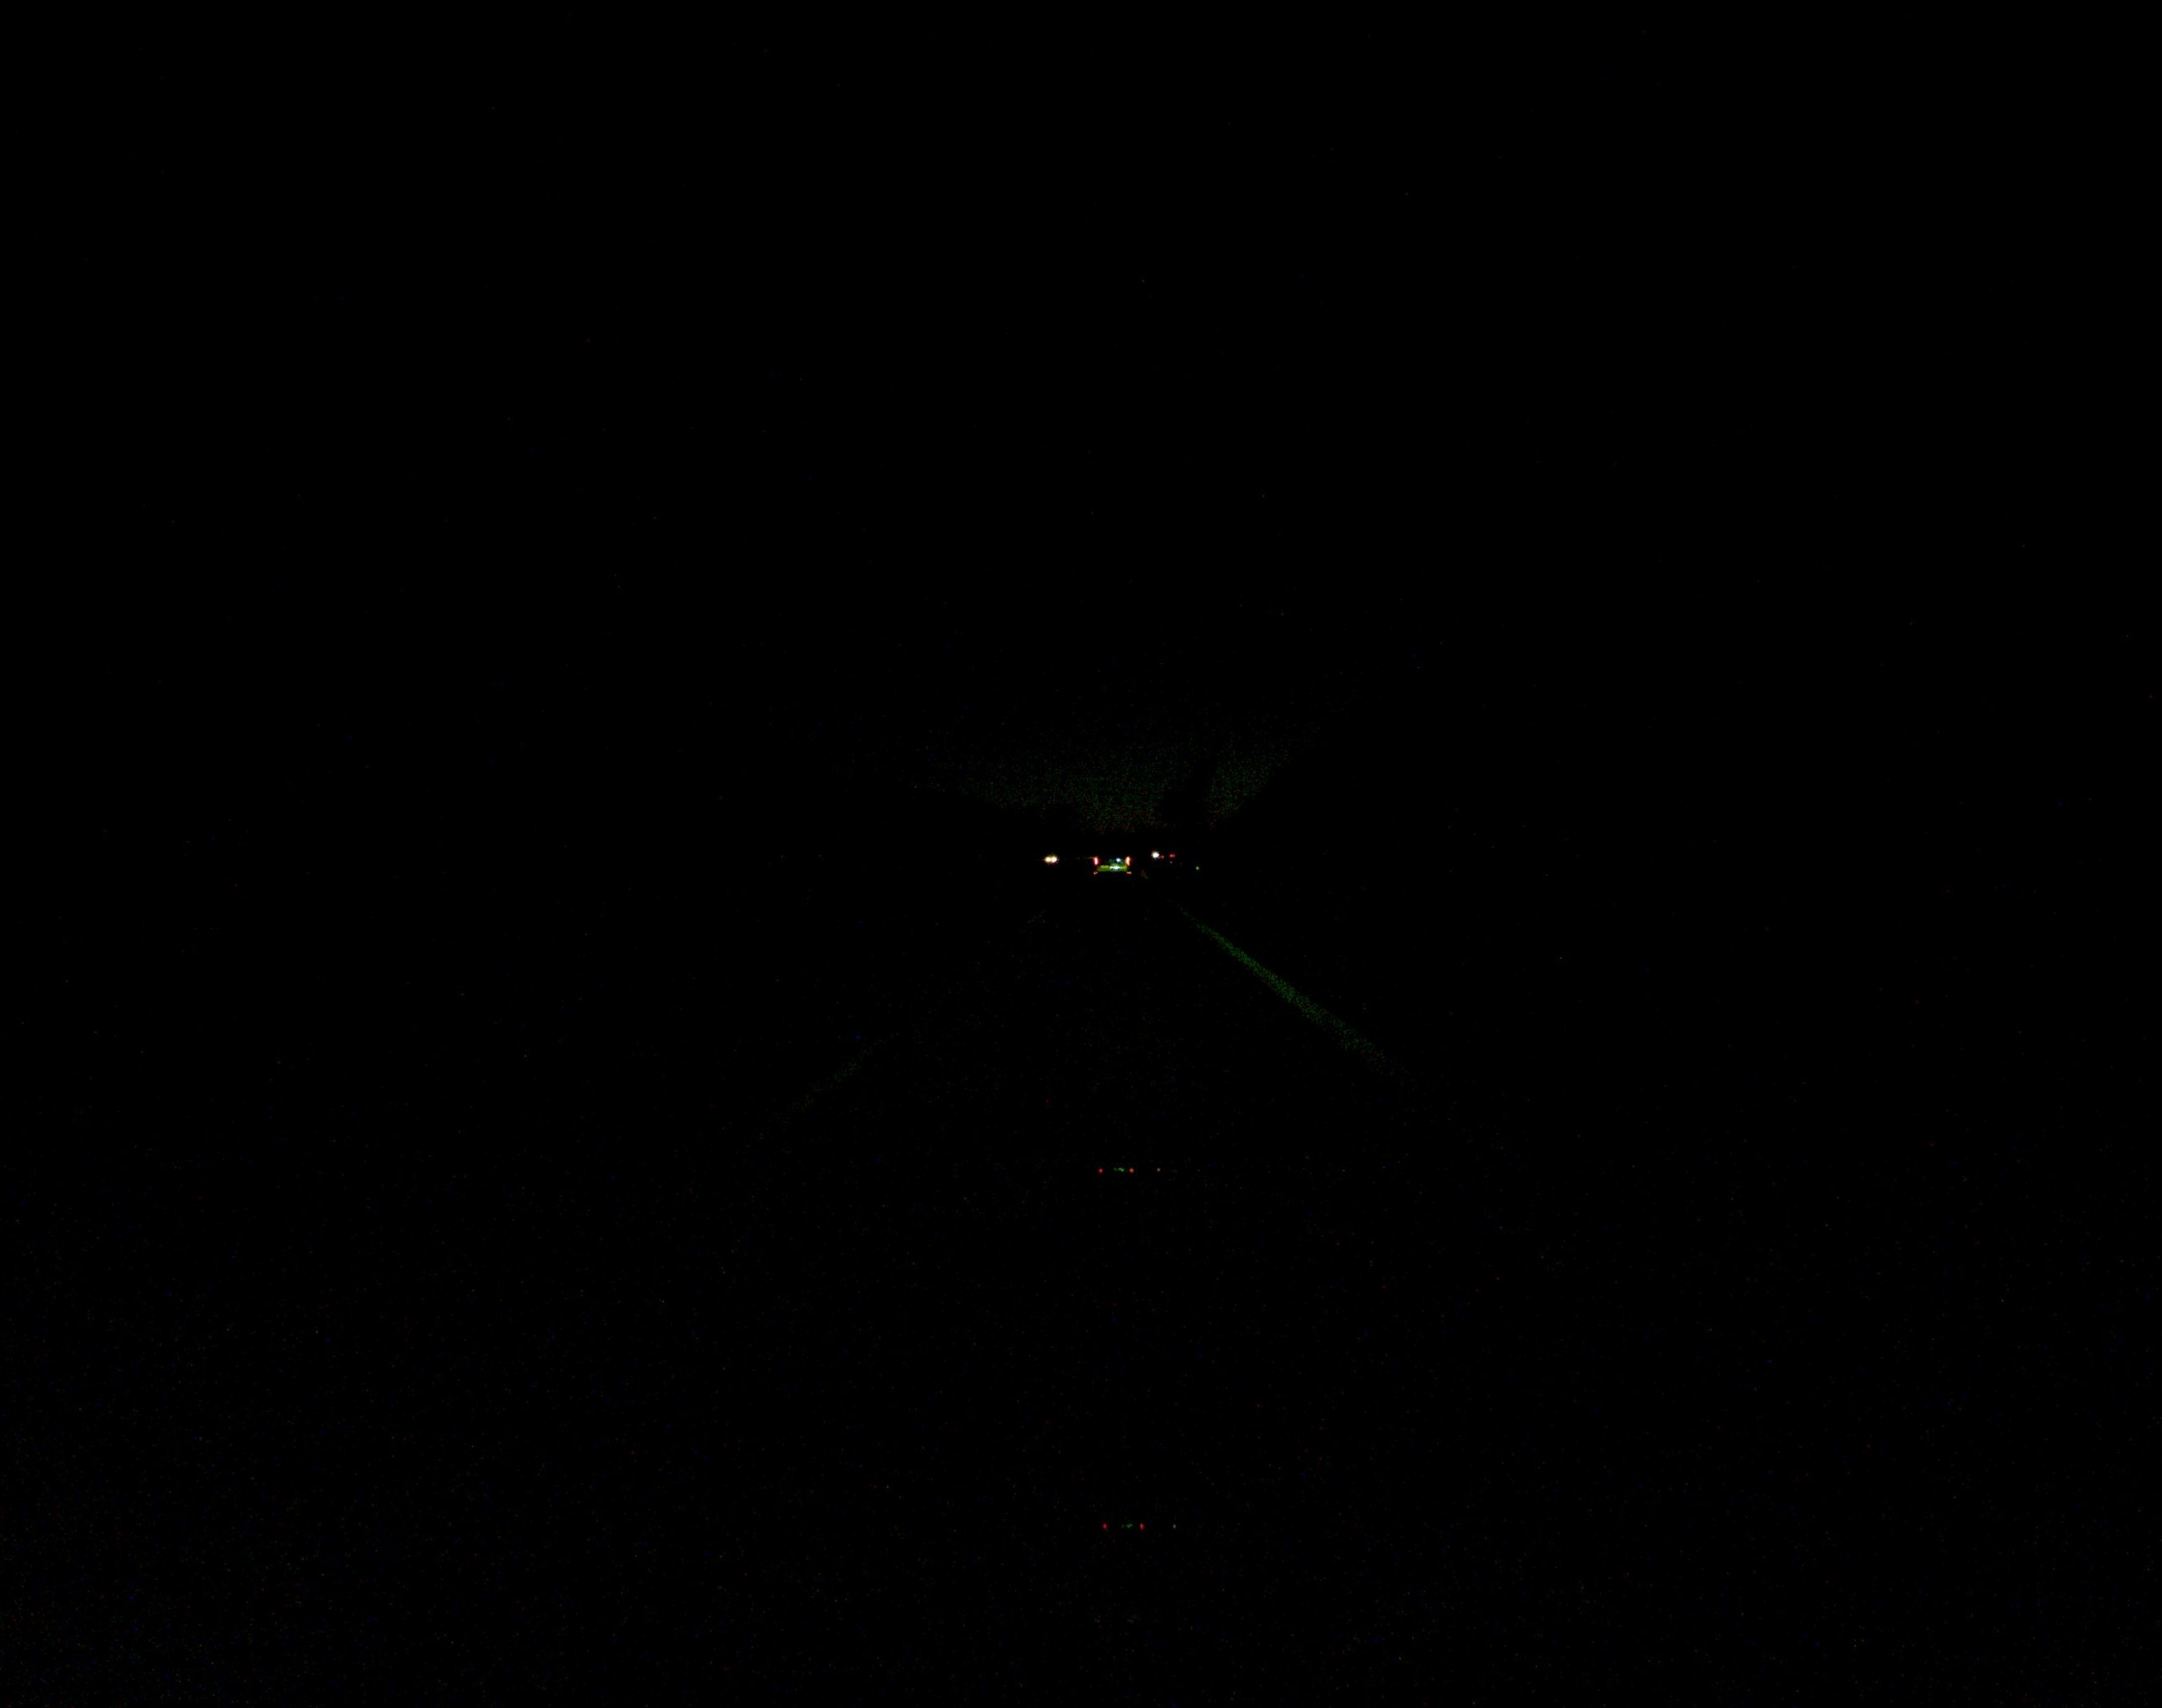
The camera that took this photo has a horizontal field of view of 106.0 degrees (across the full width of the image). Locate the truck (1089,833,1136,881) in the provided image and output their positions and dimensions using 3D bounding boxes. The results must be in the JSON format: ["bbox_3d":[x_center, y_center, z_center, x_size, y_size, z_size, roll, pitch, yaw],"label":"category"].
[{"bbox_3d":[1.827,0.217,50.073,2.621,2.624,8.684,-1,-1,0],"label":"truck"}]

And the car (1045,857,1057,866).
[{"bbox_3d":[-6.379,1.649,174.136,1.984,1.786,4.406,-1,-1,6],"label":"car"}]
